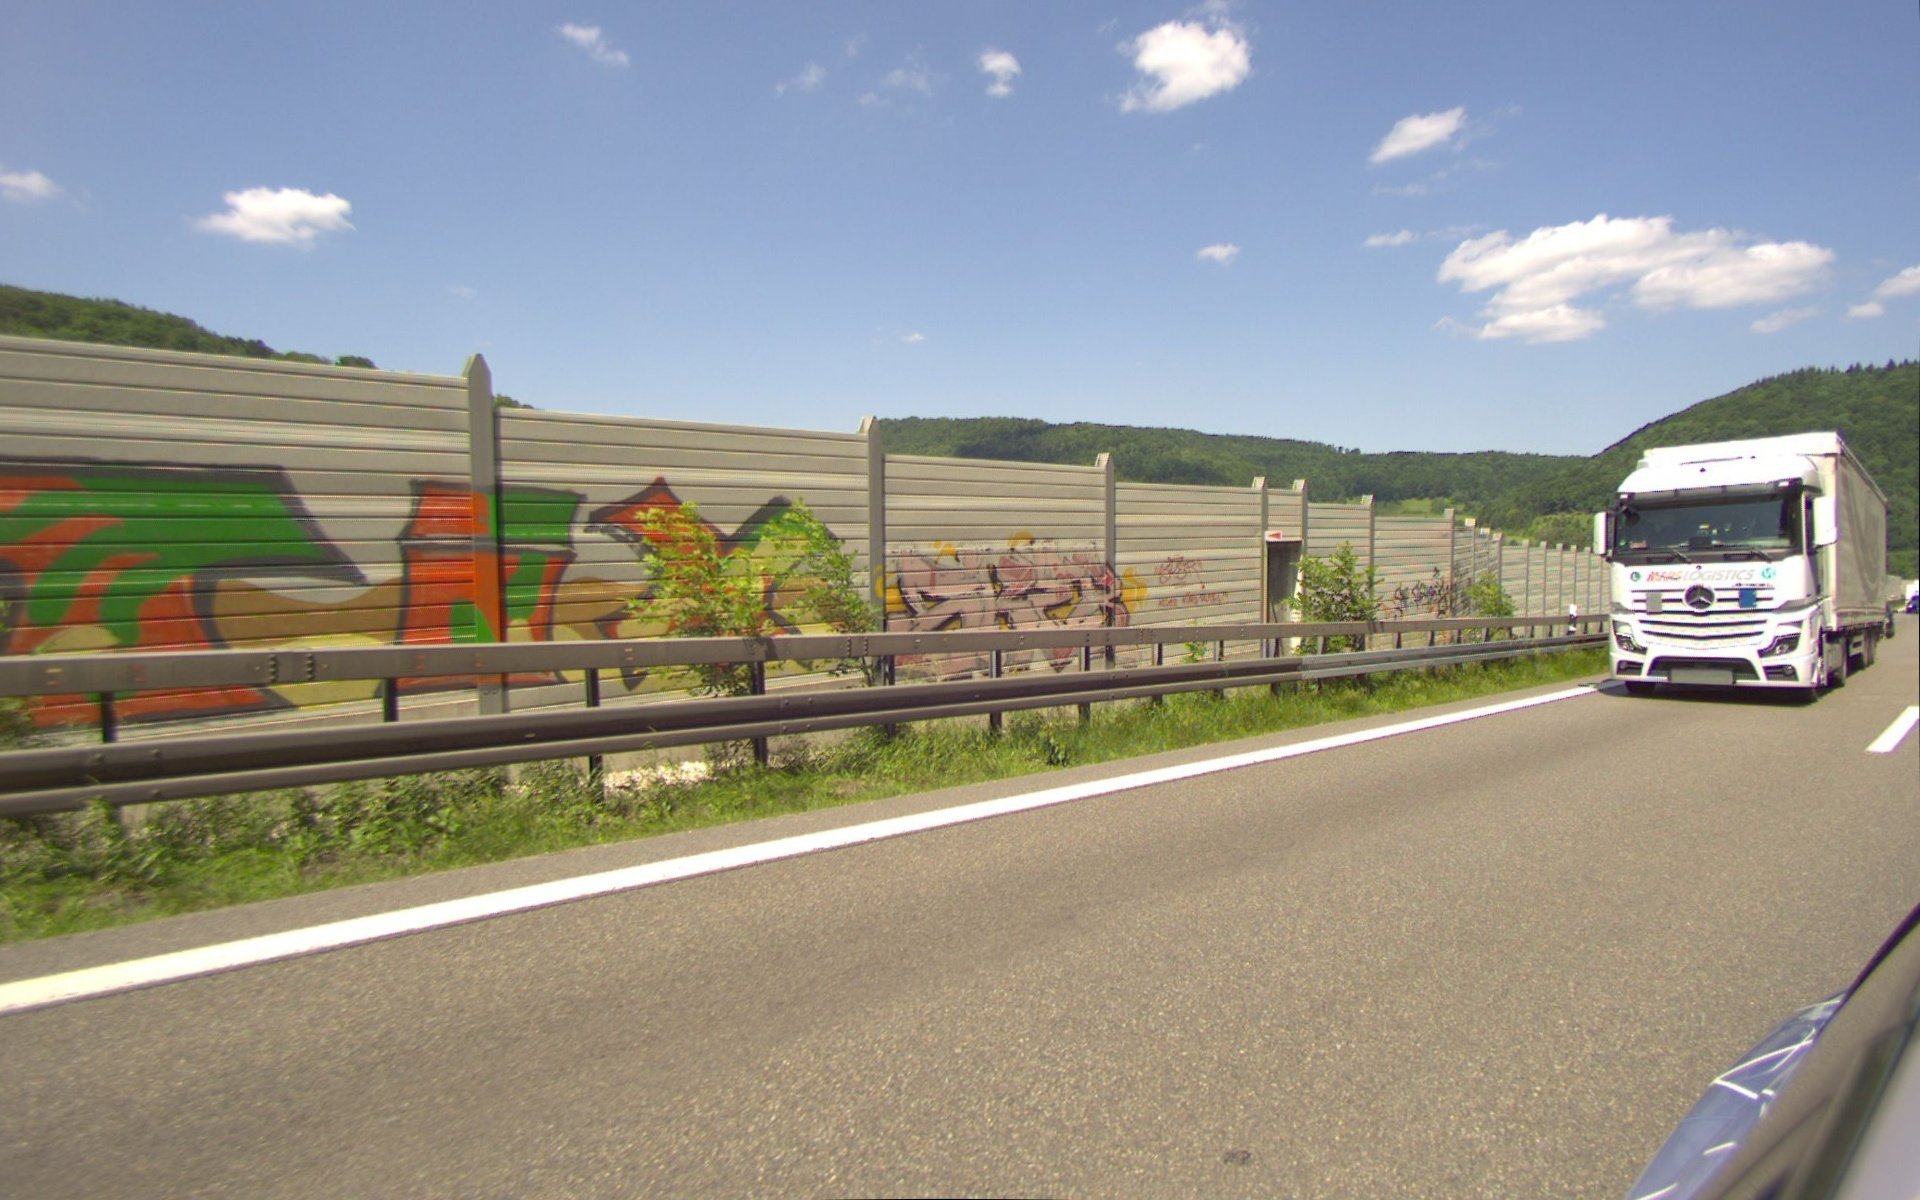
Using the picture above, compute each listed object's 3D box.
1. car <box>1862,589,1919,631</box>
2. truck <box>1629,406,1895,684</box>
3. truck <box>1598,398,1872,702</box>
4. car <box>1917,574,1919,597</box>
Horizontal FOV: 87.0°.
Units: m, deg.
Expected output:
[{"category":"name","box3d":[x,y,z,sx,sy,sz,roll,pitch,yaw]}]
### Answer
[{"category":"car","box3d":[35.444,0.344,38.334,3.419,1.430,1.660,-1,4,-45]},{"category":"truck","box3d":[16.662,-0.869,20.508,11.850,4.200,2.856,0,0,-45]},{"category":"truck","box3d":[13.199,-0.724,16.989,6.713,4.089,2.758,-1,0,-45]},{"category":"car","box3d":[85.871,-1.208,89.127,3.934,1.927,1.996,1,3,-44]}]
